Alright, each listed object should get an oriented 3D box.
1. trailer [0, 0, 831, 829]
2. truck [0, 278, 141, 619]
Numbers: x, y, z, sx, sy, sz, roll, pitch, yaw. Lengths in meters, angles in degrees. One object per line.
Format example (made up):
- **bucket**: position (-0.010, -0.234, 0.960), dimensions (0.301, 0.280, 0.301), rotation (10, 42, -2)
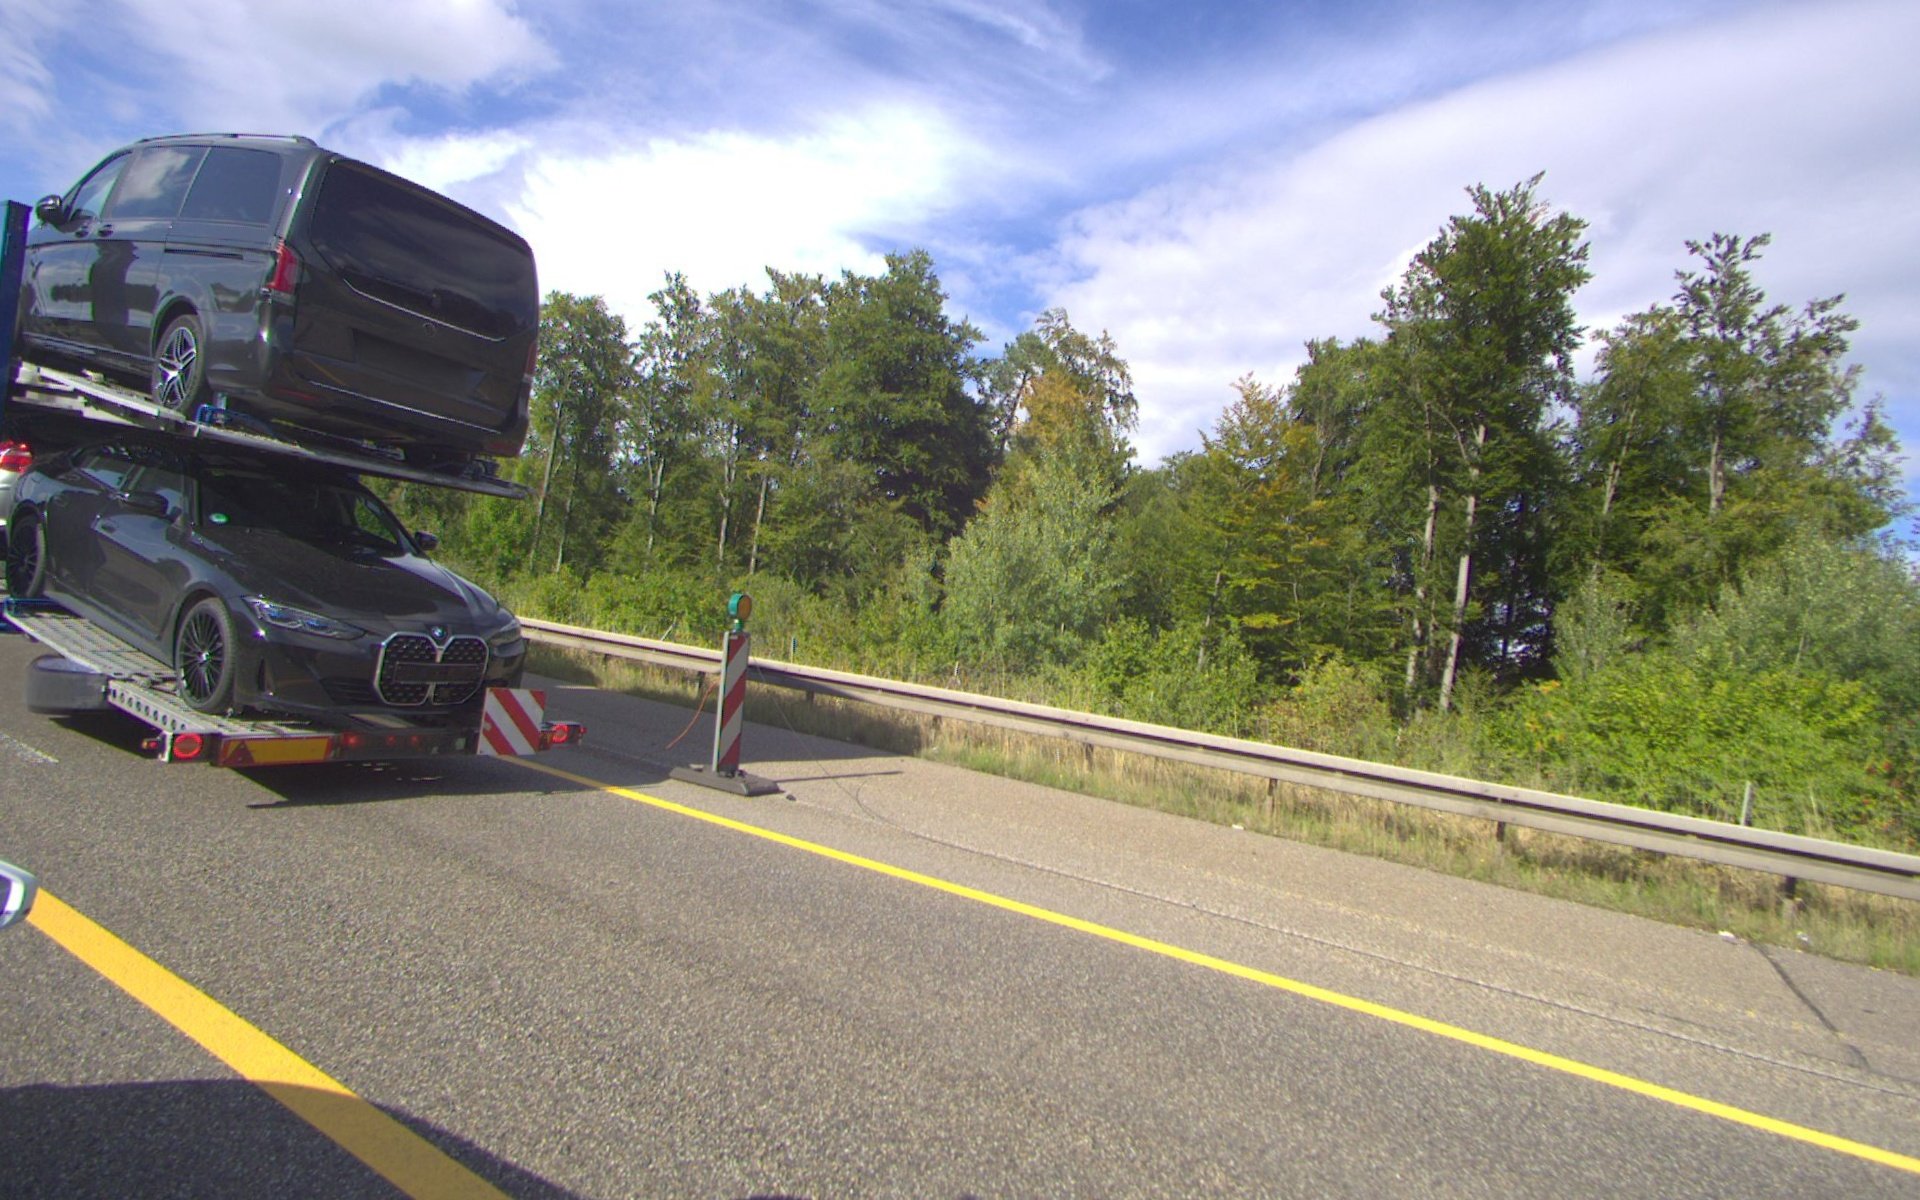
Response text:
- **trailer**: position (-9.036, -1.609, 10.338), dimensions (15.953, 4.245, 3.734), rotation (6, -2, 30)
- **truck**: position (-16.019, -2.386, 14.388), dimensions (7.816, 4.245, 3.770), rotation (6, -2, 30)
